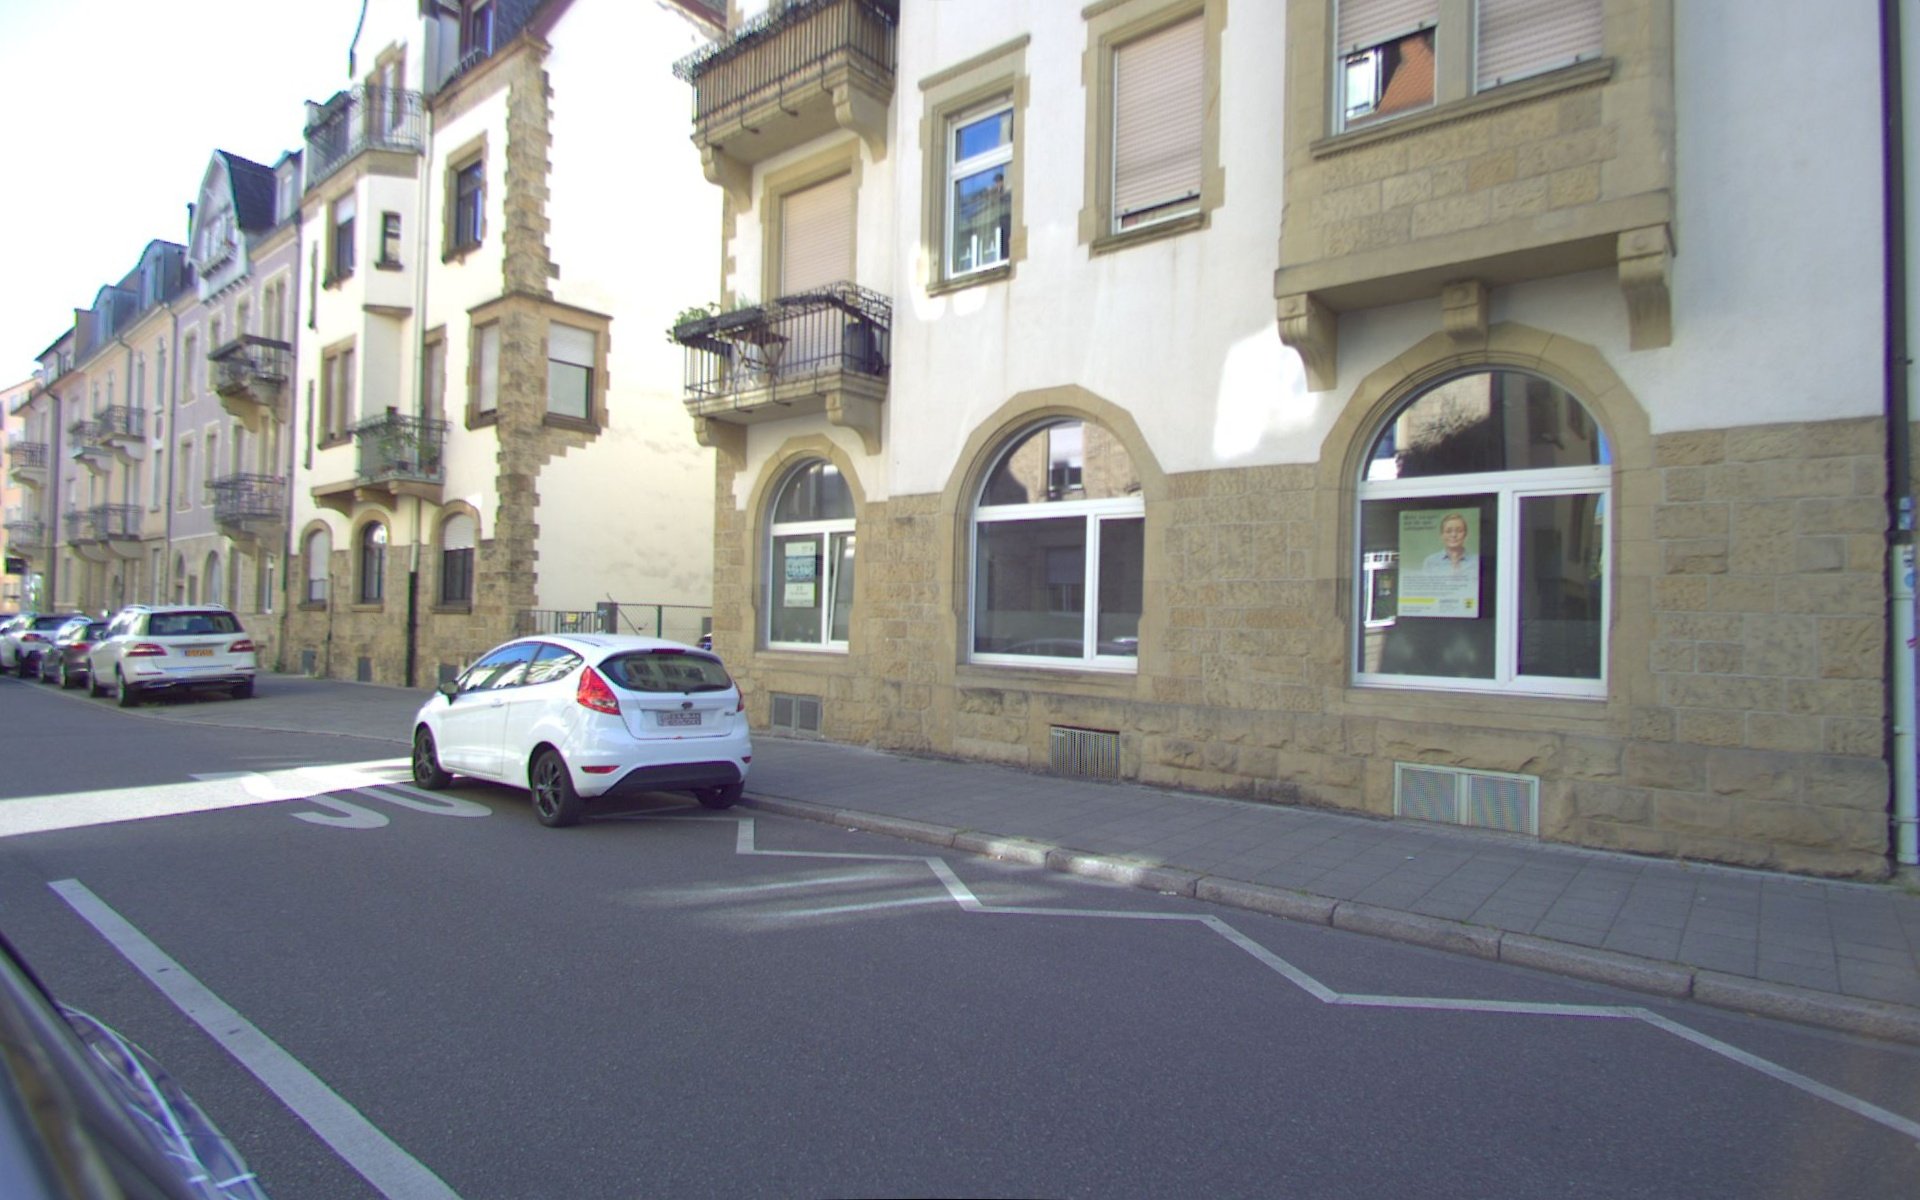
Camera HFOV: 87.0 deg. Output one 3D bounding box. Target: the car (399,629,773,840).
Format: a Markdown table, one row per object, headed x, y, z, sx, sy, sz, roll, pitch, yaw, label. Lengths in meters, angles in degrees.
| x | y | z | sx | sy | sz | roll | pitch | yaw | label |
| --- | --- | --- | --- | --- | --- | --- | --- | --- | --- |
| -3.371 | 1.014 | 8.829 | 3.570 | 1.422 | 1.536 | -1 | -4 | 42 | car |

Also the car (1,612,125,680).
| x | y | z | sx | sy | sz | roll | pitch | yaw | label |
| --- | --- | --- | --- | --- | --- | --- | --- | --- | --- |
| -23.477 | 1.123 | 26.438 | 4.345 | 1.529 | 1.893 | 0 | 2 | 41 | car |

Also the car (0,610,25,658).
| x | y | z | sx | sy | sz | roll | pitch | yaw | label |
| --- | --- | --- | --- | --- | --- | --- | --- | --- | --- |
| -34.114 | 1.178 | 35.195 | 4.345 | 1.529 | 1.893 | 0 | 2 | 41 | car |

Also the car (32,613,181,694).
| x | y | z | sx | sy | sz | roll | pitch | yaw | label |
| --- | --- | --- | --- | --- | --- | --- | --- | --- | --- |
| -19.086 | 1.101 | 22.563 | 4.345 | 1.529 | 1.893 | 0 | 2 | 41 | car |

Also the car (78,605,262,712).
| x | y | z | sx | sy | sz | roll | pitch | yaw | label |
| --- | --- | --- | --- | --- | --- | --- | --- | --- | --- |
| -14.669 | 0.971 | 18.718 | 4.345 | 1.671 | 1.893 | 0 | 2 | 41 | car |
